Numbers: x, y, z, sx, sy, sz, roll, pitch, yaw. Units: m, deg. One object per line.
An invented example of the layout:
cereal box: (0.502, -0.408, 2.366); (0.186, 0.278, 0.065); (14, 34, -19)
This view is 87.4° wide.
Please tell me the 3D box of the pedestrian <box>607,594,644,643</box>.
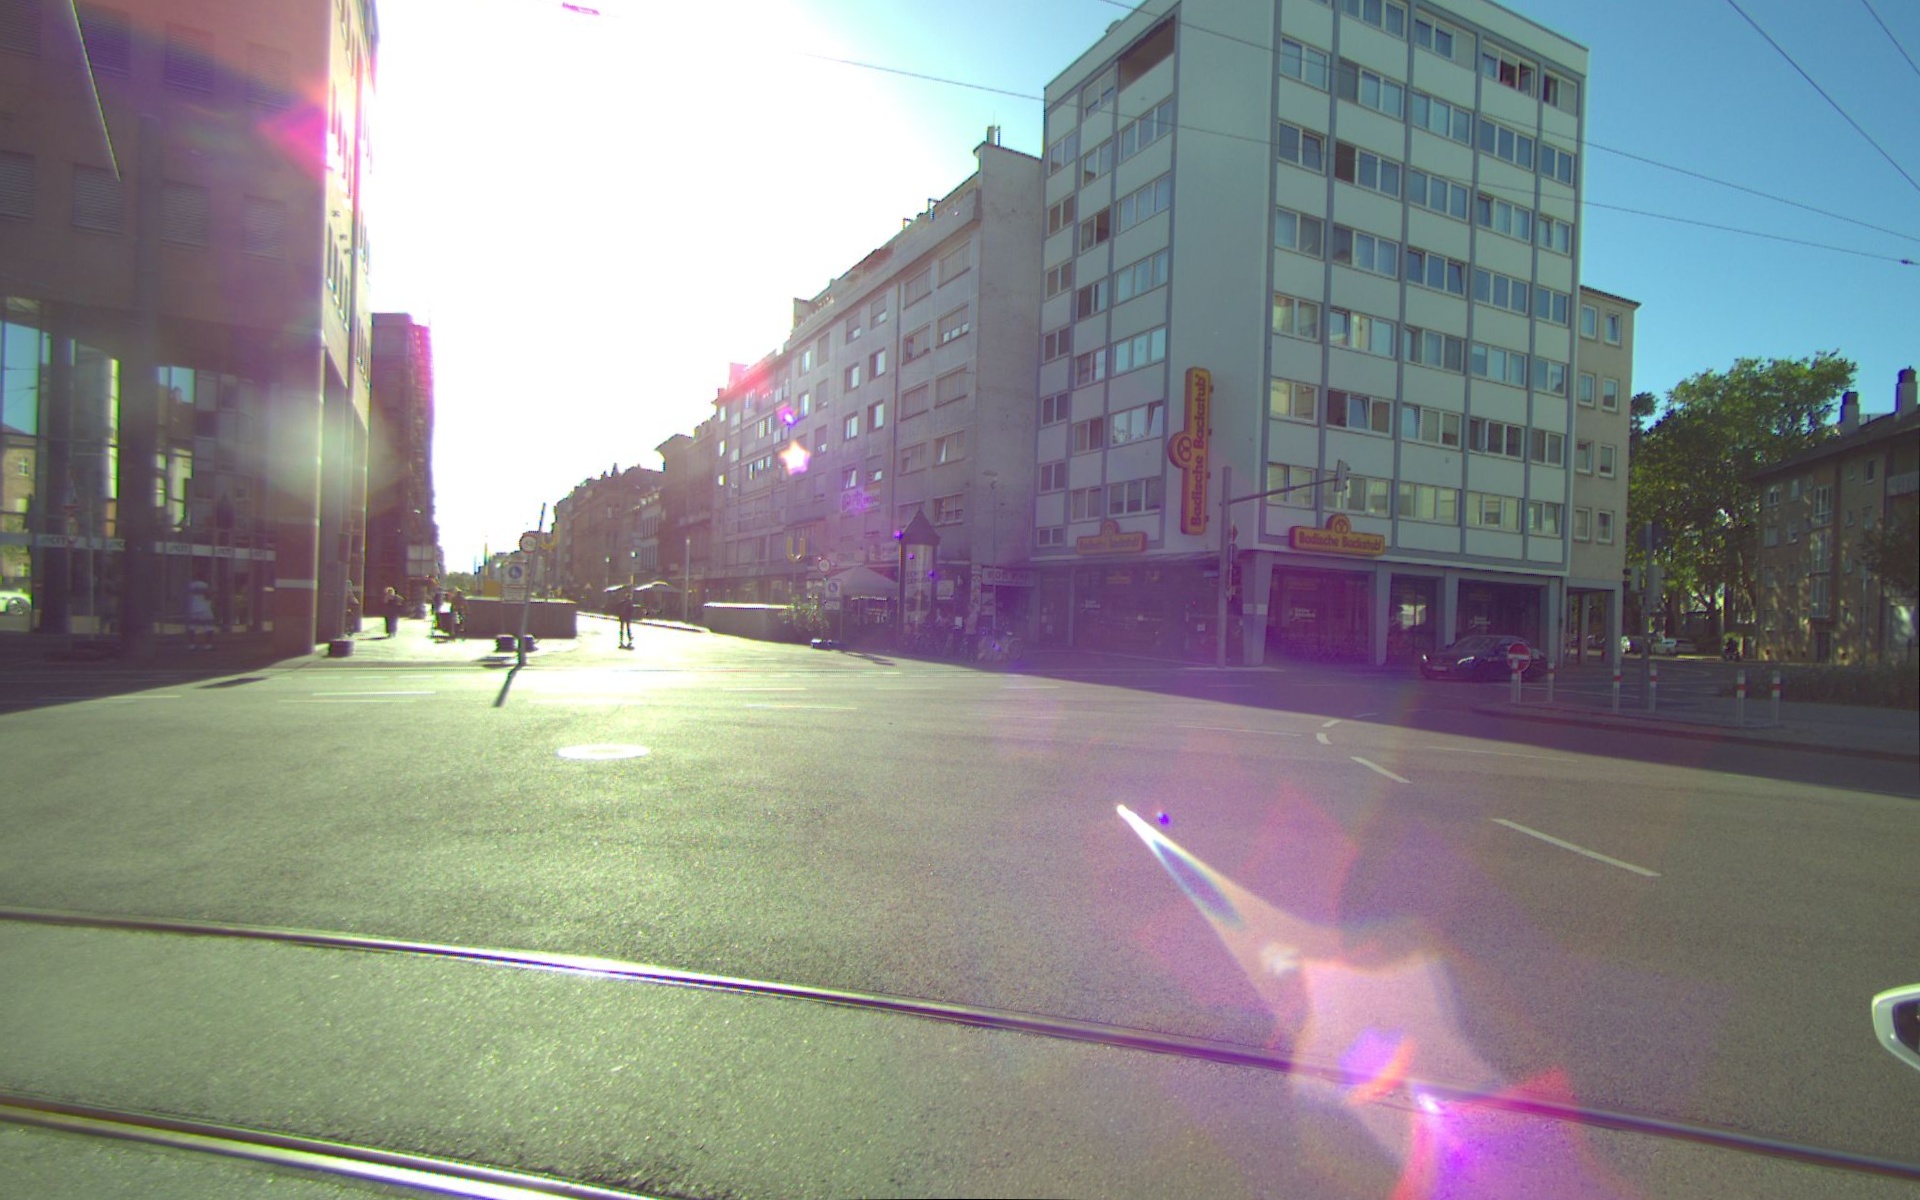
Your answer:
pedestrian: (-11.863, 0.667, 35.641); (0.866, 1.687, 0.908); (2, -1, 8)

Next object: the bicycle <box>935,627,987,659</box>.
bicycle: (0.040, 1.502, 35.123); (0.588, 1.067, 1.994); (1, -1, 44)

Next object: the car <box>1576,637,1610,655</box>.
car: (67.640, 4.873, 107.374); (1.999, 1.742, 4.095); (2, -1, 17)

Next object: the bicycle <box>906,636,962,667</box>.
bicycle: (-0.961, 1.886, 36.903); (1.978, 1.067, 0.593); (2, -1, -24)

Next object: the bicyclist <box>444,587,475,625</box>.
bicyclist: (-17.721, 0.211, 35.590); (0.943, 1.329, 0.614); (2, 0, 40)

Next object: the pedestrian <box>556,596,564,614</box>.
pedestrian: (-39.406, 0.532, 98.973); (0.499, 1.709, 0.660); (3, 1, -32)

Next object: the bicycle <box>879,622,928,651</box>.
bicycle: (-2.267, 1.463, 40.228); (1.818, 1.067, 0.594); (2, -1, -20)

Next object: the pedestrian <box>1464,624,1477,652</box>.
pedestrian: (33.676, 2.507, 66.292); (0.603, 1.819, 0.656); (2, 0, 14)

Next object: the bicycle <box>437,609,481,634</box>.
bicycle: (-17.771, 0.761, 35.611); (1.988, 0.818, 0.614); (2, -1, 40)

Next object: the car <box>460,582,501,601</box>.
car: (-85.697, -1.570, 179.459); (6.238, 2.945, 2.544); (3, 0, -34)

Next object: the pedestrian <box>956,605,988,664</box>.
pedestrian: (0.374, 1.094, 31.563); (0.775, 1.815, 0.626); (2, 0, -27)

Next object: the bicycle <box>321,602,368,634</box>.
bicycle: (-19.460, 0.558, 31.764); (1.934, 0.924, 0.581); (2, 0, 37)

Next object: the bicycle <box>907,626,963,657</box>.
bicycle: (-0.870, 1.485, 35.761); (1.987, 1.067, 0.590); (2, -1, -37)

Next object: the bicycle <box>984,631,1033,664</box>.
bicycle: (1.612, 1.561, 33.331); (0.587, 1.067, 1.999); (1, -1, 36)

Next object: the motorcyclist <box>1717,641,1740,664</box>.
motorcyclist: (47.631, 3.232, 62.235); (0.960, 1.365, 1.131); (3, 0, 43)

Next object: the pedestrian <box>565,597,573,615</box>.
pedestrian: (-38.539, 0.564, 98.993); (0.499, 1.709, 0.660); (3, 1, -32)

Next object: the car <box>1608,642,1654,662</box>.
car: (53.798, 4.174, 80.594); (1.891, 1.407, 4.002); (2, -1, 16)

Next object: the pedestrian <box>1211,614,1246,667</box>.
pedestrian: (9.271, 1.398, 34.728); (0.766, 1.747, 0.802); (3, -1, -27)

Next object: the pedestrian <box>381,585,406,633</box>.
pedestrian: (-18.975, 0.305, 33.634); (0.483, 1.557, 0.559); (2, 0, 45)

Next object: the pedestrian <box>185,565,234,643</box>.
pedestrian: (-16.243, 0.080, 21.758); (0.715, 1.640, 0.637); (2, 0, -30)

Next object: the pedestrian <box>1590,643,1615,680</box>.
pedestrian: (32.143, 3.065, 50.229); (0.791, 1.747, 0.777); (2, -1, 14)

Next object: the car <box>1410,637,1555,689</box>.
car: (16.051, 1.937, 30.797); (4.544, 1.404, 1.823); (3, -2, -31)

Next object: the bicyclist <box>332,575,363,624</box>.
bicyclist: (-19.300, -0.012, 31.656); (0.737, 1.504, 0.581); (1, 0, 37)

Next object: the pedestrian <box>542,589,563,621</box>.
pedestrian: (-22.191, 0.293, 54.729); (0.683, 1.687, 0.753); (2, -1, 12)

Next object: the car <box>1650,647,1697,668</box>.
car: (60.202, 4.849, 84.837); (1.999, 1.524, 4.095); (2, -1, 17)

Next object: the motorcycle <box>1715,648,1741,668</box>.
motorcycle: (47.596, 3.555, 62.213); (0.962, 1.147, 2.789); (3, 0, 43)
